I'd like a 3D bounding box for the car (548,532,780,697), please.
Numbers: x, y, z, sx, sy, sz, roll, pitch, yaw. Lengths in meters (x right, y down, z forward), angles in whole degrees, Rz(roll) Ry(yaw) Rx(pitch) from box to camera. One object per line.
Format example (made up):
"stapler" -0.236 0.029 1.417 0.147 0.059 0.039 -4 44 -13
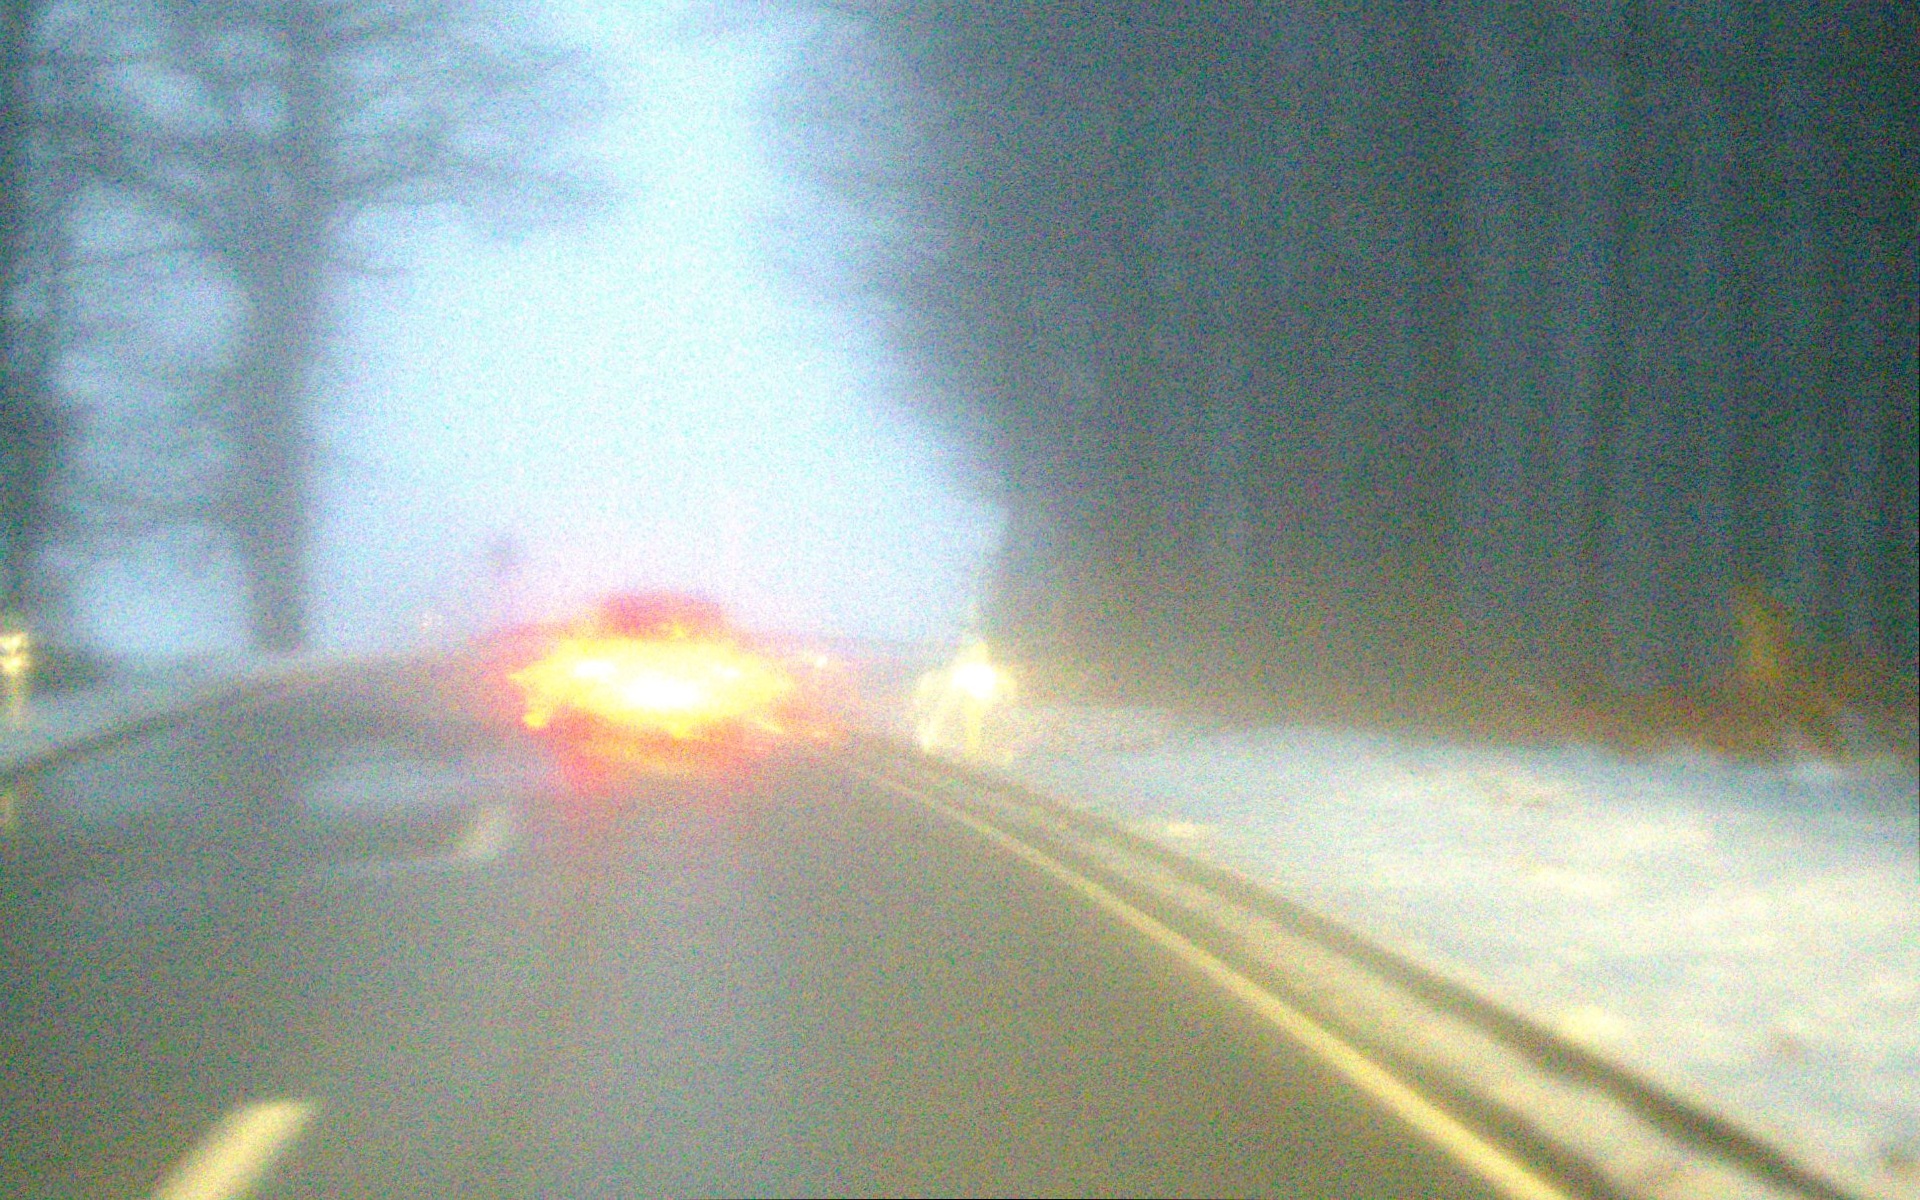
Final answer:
"car" -2.861 0.095 32.482 1.945 1.376 4.001 3 1 -8

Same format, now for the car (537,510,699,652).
"car" -4.875 -0.278 48.594 1.993 1.777 4.001 4 0 -8
